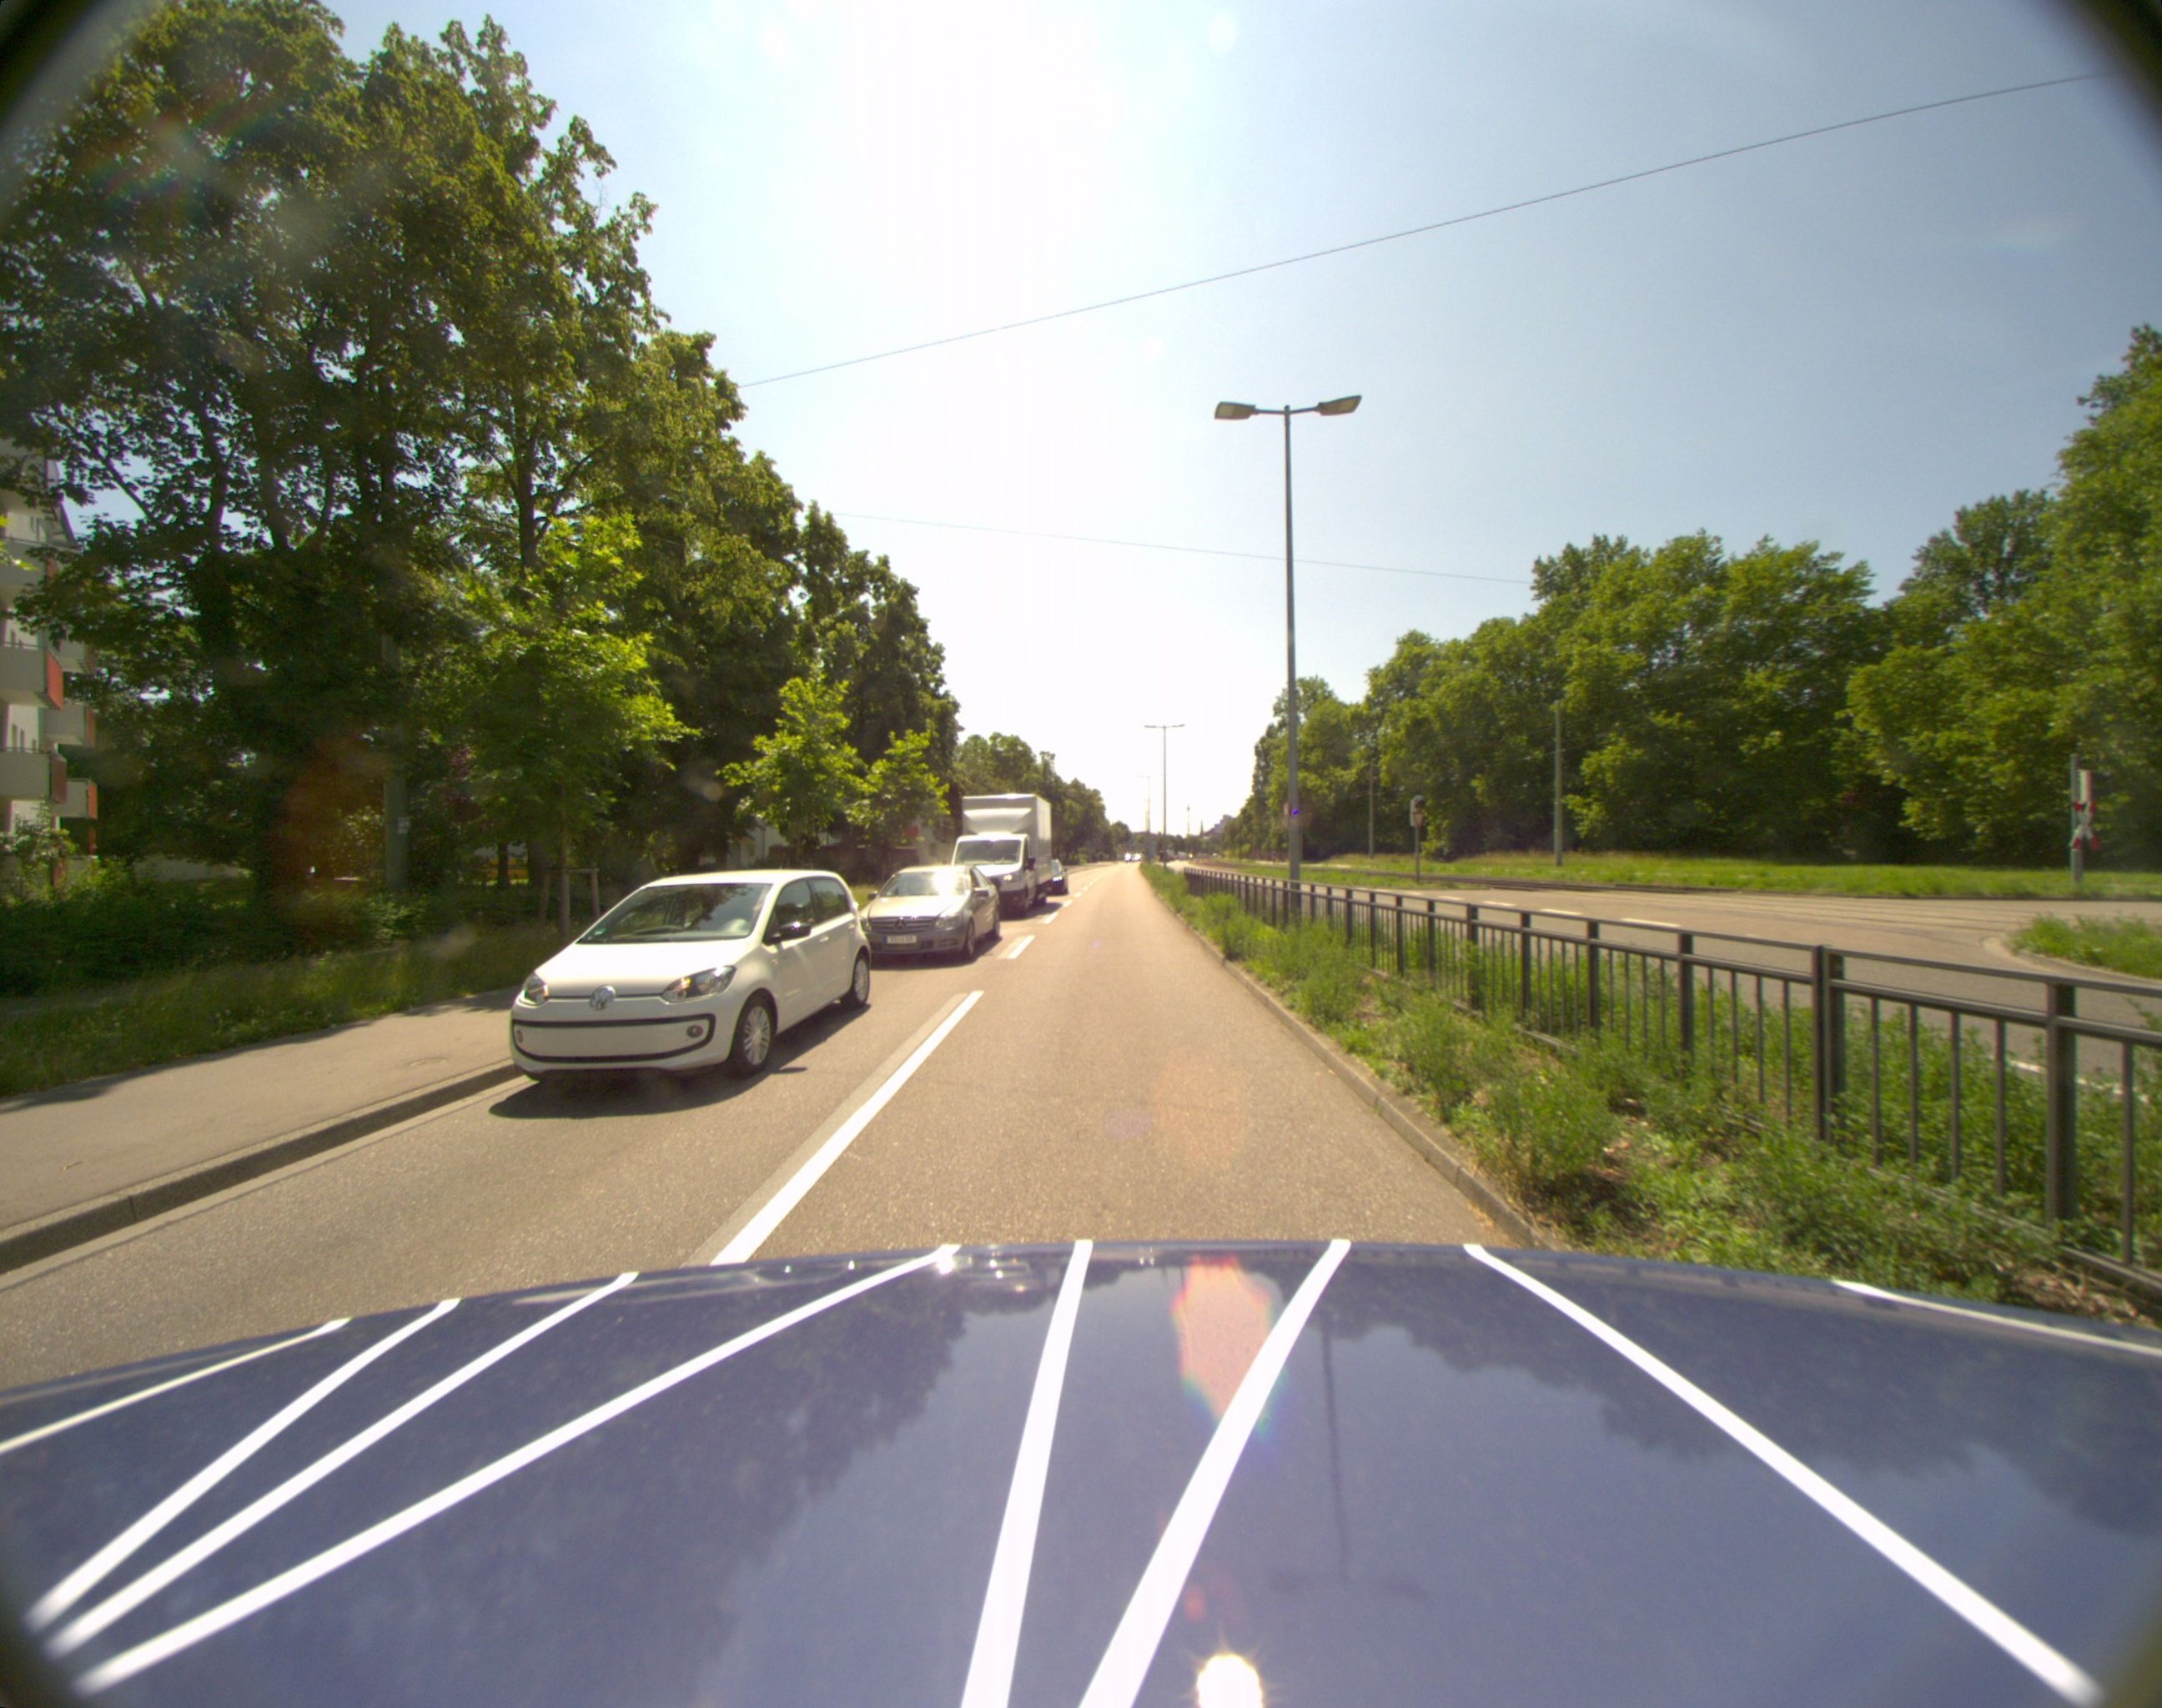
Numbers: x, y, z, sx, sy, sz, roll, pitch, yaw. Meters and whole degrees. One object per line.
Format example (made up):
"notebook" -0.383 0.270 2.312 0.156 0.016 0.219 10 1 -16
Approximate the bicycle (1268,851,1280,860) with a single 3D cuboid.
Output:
"bicycle" 25.488 0.226 100.213 0.862 1.155 2.787 -1 0 1

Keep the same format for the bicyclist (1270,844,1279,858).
"bicyclist" 25.502 -0.363 100.149 0.862 1.796 1.118 -1 1 1

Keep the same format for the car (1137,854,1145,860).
"car" 15.603 0.800 196.970 1.997 1.499 4.002 -1 0 7

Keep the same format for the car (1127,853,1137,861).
"car" 11.142 0.651 165.767 1.997 1.499 4.002 -1 0 7

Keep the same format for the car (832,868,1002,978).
"car" -2.476 0.987 12.539 1.840 1.400 4.087 -1 0 1

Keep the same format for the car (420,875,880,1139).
"car" -3.127 0.989 6.517 1.730 1.470 3.771 -1 0 1

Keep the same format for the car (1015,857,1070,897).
"car" -1.527 0.916 31.599 1.998 1.499 4.000 -1 0 1

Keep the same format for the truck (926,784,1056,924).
"truck" -2.301 -0.006 22.277 2.433 3.326 7.923 -1 0 3

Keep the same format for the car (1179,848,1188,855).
"car" 27.107 -0.562 200.791 1.998 1.847 4.001 -1 0 5

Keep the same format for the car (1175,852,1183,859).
"car" 26.772 0.318 207.402 1.998 1.847 4.001 -1 0 5

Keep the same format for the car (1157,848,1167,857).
"car" 16.428 -0.269 153.908 1.997 1.847 4.002 -1 0 7

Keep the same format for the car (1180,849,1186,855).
"car" 33.871 -0.709 252.625 1.997 2.002 4.001 -2 1 7
